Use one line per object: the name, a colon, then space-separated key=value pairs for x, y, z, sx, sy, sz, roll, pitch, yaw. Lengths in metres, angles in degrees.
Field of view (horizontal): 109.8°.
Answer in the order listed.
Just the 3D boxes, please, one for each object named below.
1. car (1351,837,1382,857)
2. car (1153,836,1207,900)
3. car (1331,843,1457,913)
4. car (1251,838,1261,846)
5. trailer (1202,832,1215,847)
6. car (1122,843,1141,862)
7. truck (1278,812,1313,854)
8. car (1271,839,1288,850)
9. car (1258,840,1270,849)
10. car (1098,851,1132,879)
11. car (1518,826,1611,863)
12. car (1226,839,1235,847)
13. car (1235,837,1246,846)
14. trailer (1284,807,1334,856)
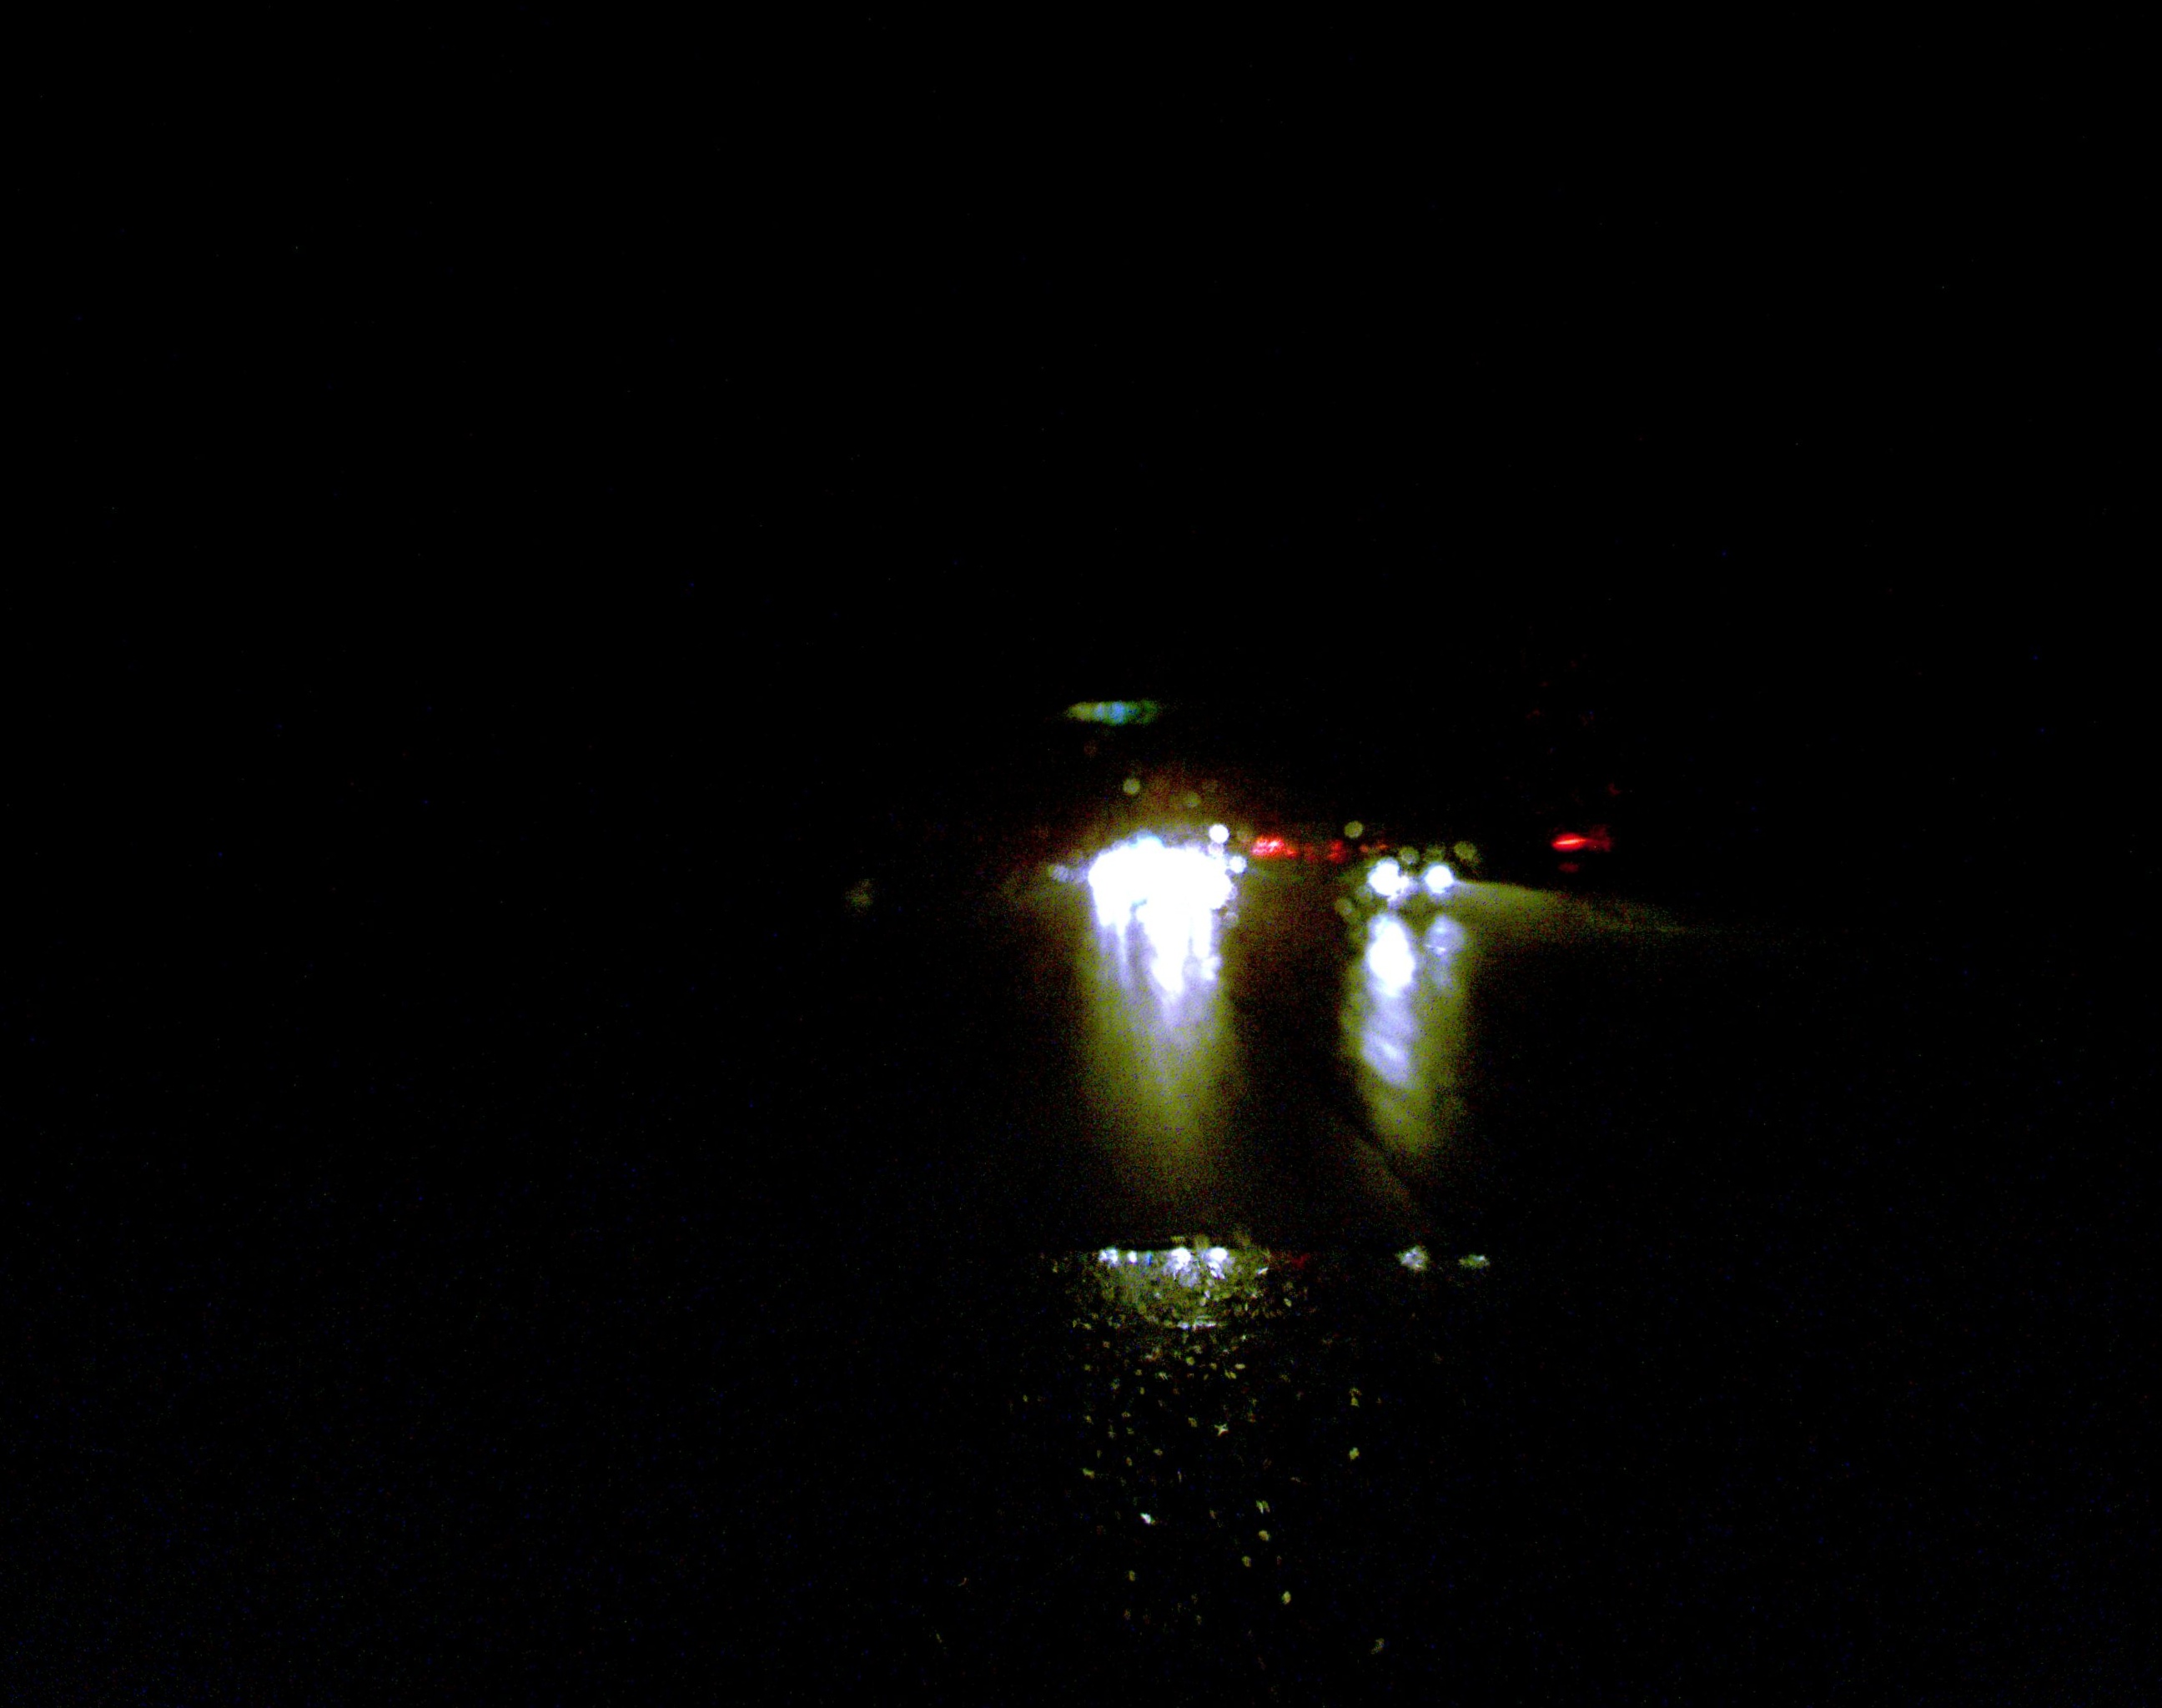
car: x=26.680 y=-0.647 z=71.175 sx=1.997 sy=1.718 sz=4.003 roll=-2 pitch=0 yaw=11
car: x=3.528 y=0.484 z=27.560 sx=1.753 sy=2.092 sz=4.465 roll=-1 pitch=0 yaw=6
car: x=7.859 y=0.566 z=19.472 sx=1.653 sy=1.566 sz=3.849 roll=-1 pitch=0 yaw=1
car: x=36.768 y=-2.477 z=159.718 sx=1.767 sy=1.486 sz=3.804 roll=-3 pitch=1 yaw=7
trailer: x=39.911 y=-4.466 z=237.662 sx=3.362 sy=4.149 sz=11.725 roll=-3 pitch=0 yaw=7
car: x=5.768 y=-0.183 z=86.127 sx=1.998 sy=2.002 sz=4.001 roll=-3 pitch=0 yaw=4
truck: x=23.876 y=-2.366 z=84.777 sx=2.570 sy=4.379 sz=5.852 roll=-3 pitch=1 yaw=6
car: x=32.583 y=-1.623 z=124.807 sx=1.846 sy=1.638 sz=4.334 roll=-3 pitch=1 yaw=4
car: x=34.954 y=-1.779 z=145.439 sx=1.812 sy=1.602 sz=4.202 roll=-3 pitch=-1 yaw=8
car: x=2.215 y=0.665 z=48.477 sx=1.892 sy=1.603 sz=4.001 roll=-3 pitch=1 yaw=5
car: x=23.765 y=-0.466 z=37.545 sx=1.902 sy=1.634 sz=4.196 roll=-3 pitch=1 yaw=0
car: x=39.855 y=-2.881 z=202.372 sx=1.895 sy=1.899 sz=4.845 roll=-3 pitch=1 yaw=7
car: x=37.712 y=-2.945 z=180.010 sx=1.990 sy=1.899 sz=5.138 roll=-3 pitch=1 yaw=7
trailer: x=22.998 y=-2.264 z=77.270 sx=2.580 sy=4.431 sz=12.497 roll=-3 pitch=1 yaw=7
